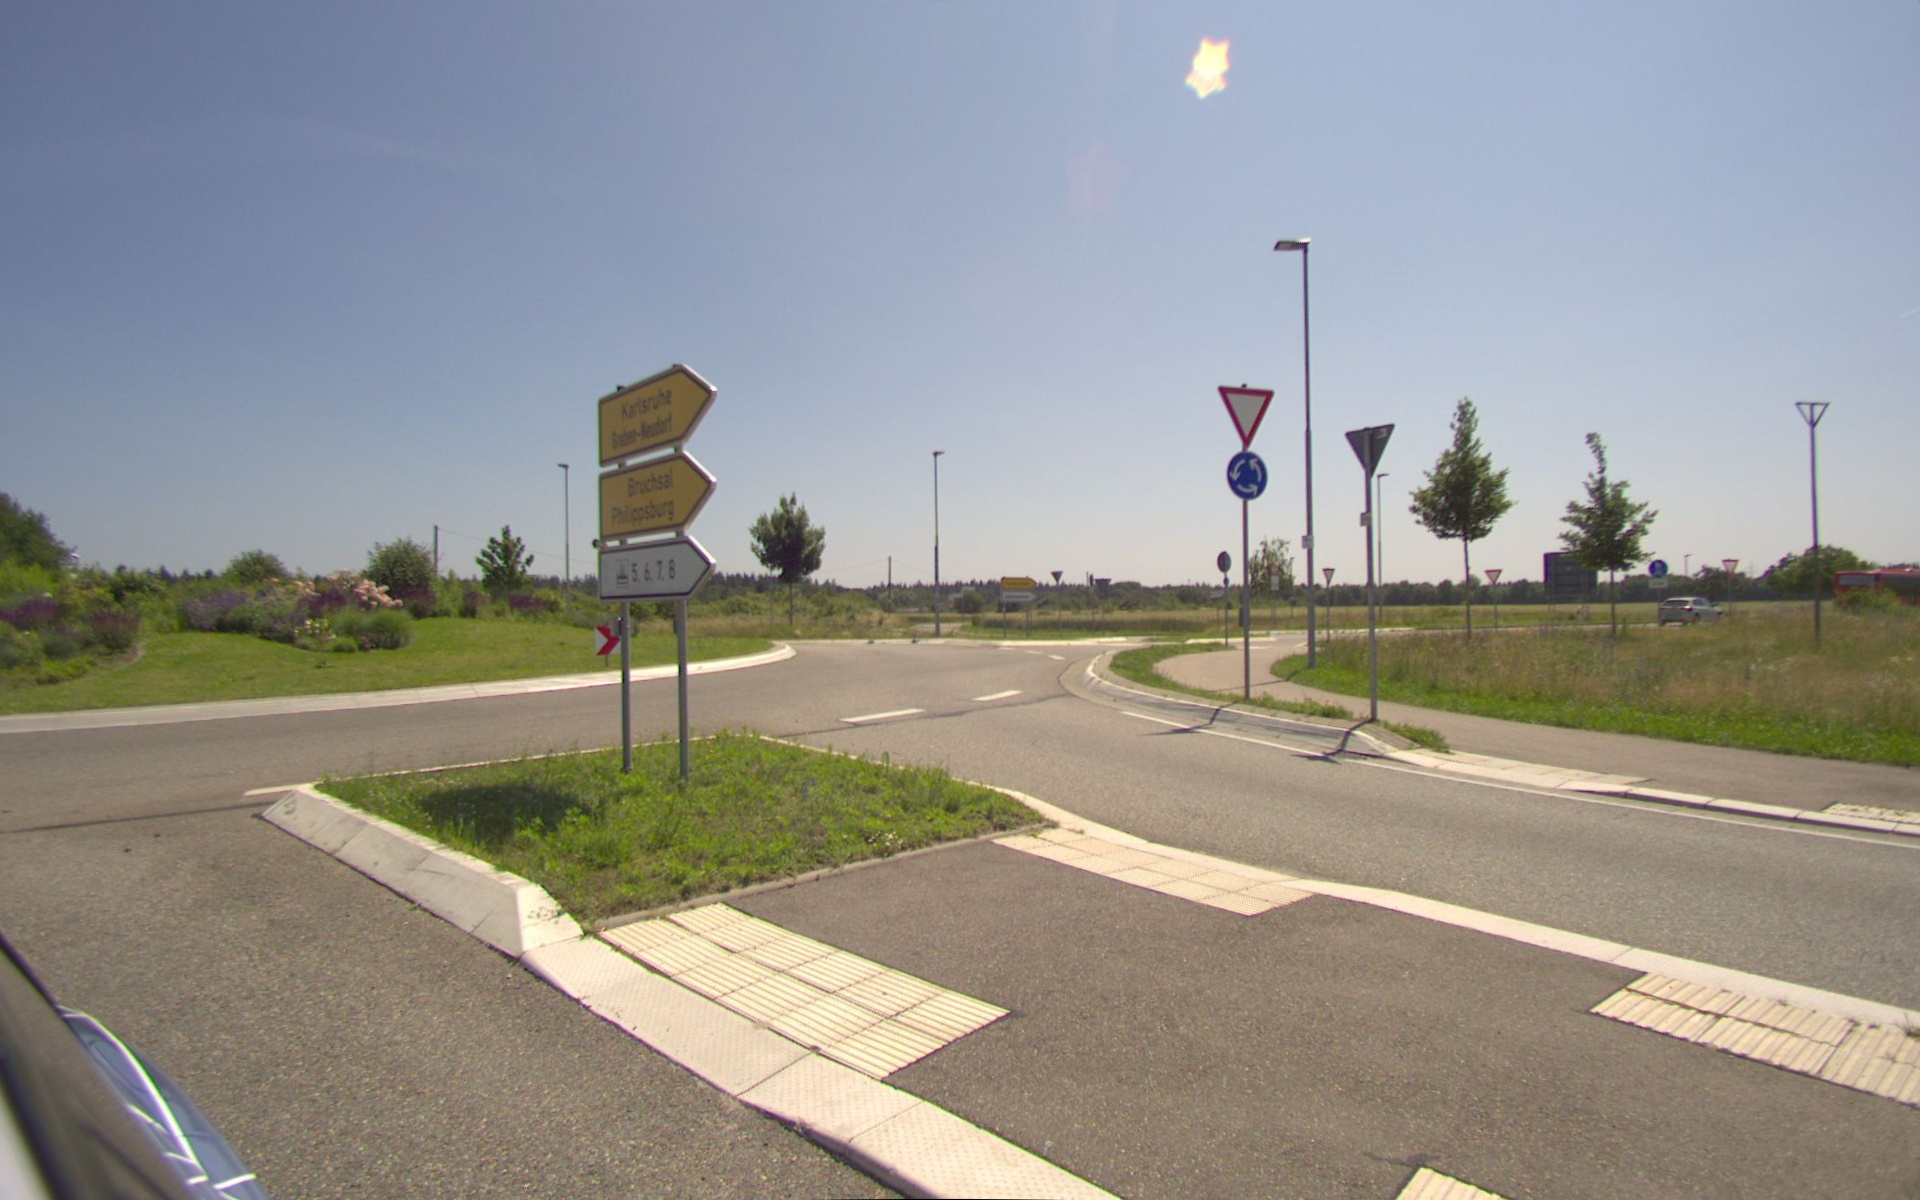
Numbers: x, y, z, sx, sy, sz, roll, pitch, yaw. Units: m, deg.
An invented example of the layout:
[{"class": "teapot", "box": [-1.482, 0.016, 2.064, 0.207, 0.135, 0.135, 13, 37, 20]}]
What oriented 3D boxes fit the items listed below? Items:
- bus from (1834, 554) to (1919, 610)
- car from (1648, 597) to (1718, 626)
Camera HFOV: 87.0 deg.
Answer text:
[{"class": "bus", "box": [61.272, -1.094, 66.065, 11.790, 3.334, 3.322, 0, -1, -34]}, {"class": "car", "box": [37.273, 0.590, 52.176, 3.541, 1.475, 1.734, 0, -1, -33]}]
